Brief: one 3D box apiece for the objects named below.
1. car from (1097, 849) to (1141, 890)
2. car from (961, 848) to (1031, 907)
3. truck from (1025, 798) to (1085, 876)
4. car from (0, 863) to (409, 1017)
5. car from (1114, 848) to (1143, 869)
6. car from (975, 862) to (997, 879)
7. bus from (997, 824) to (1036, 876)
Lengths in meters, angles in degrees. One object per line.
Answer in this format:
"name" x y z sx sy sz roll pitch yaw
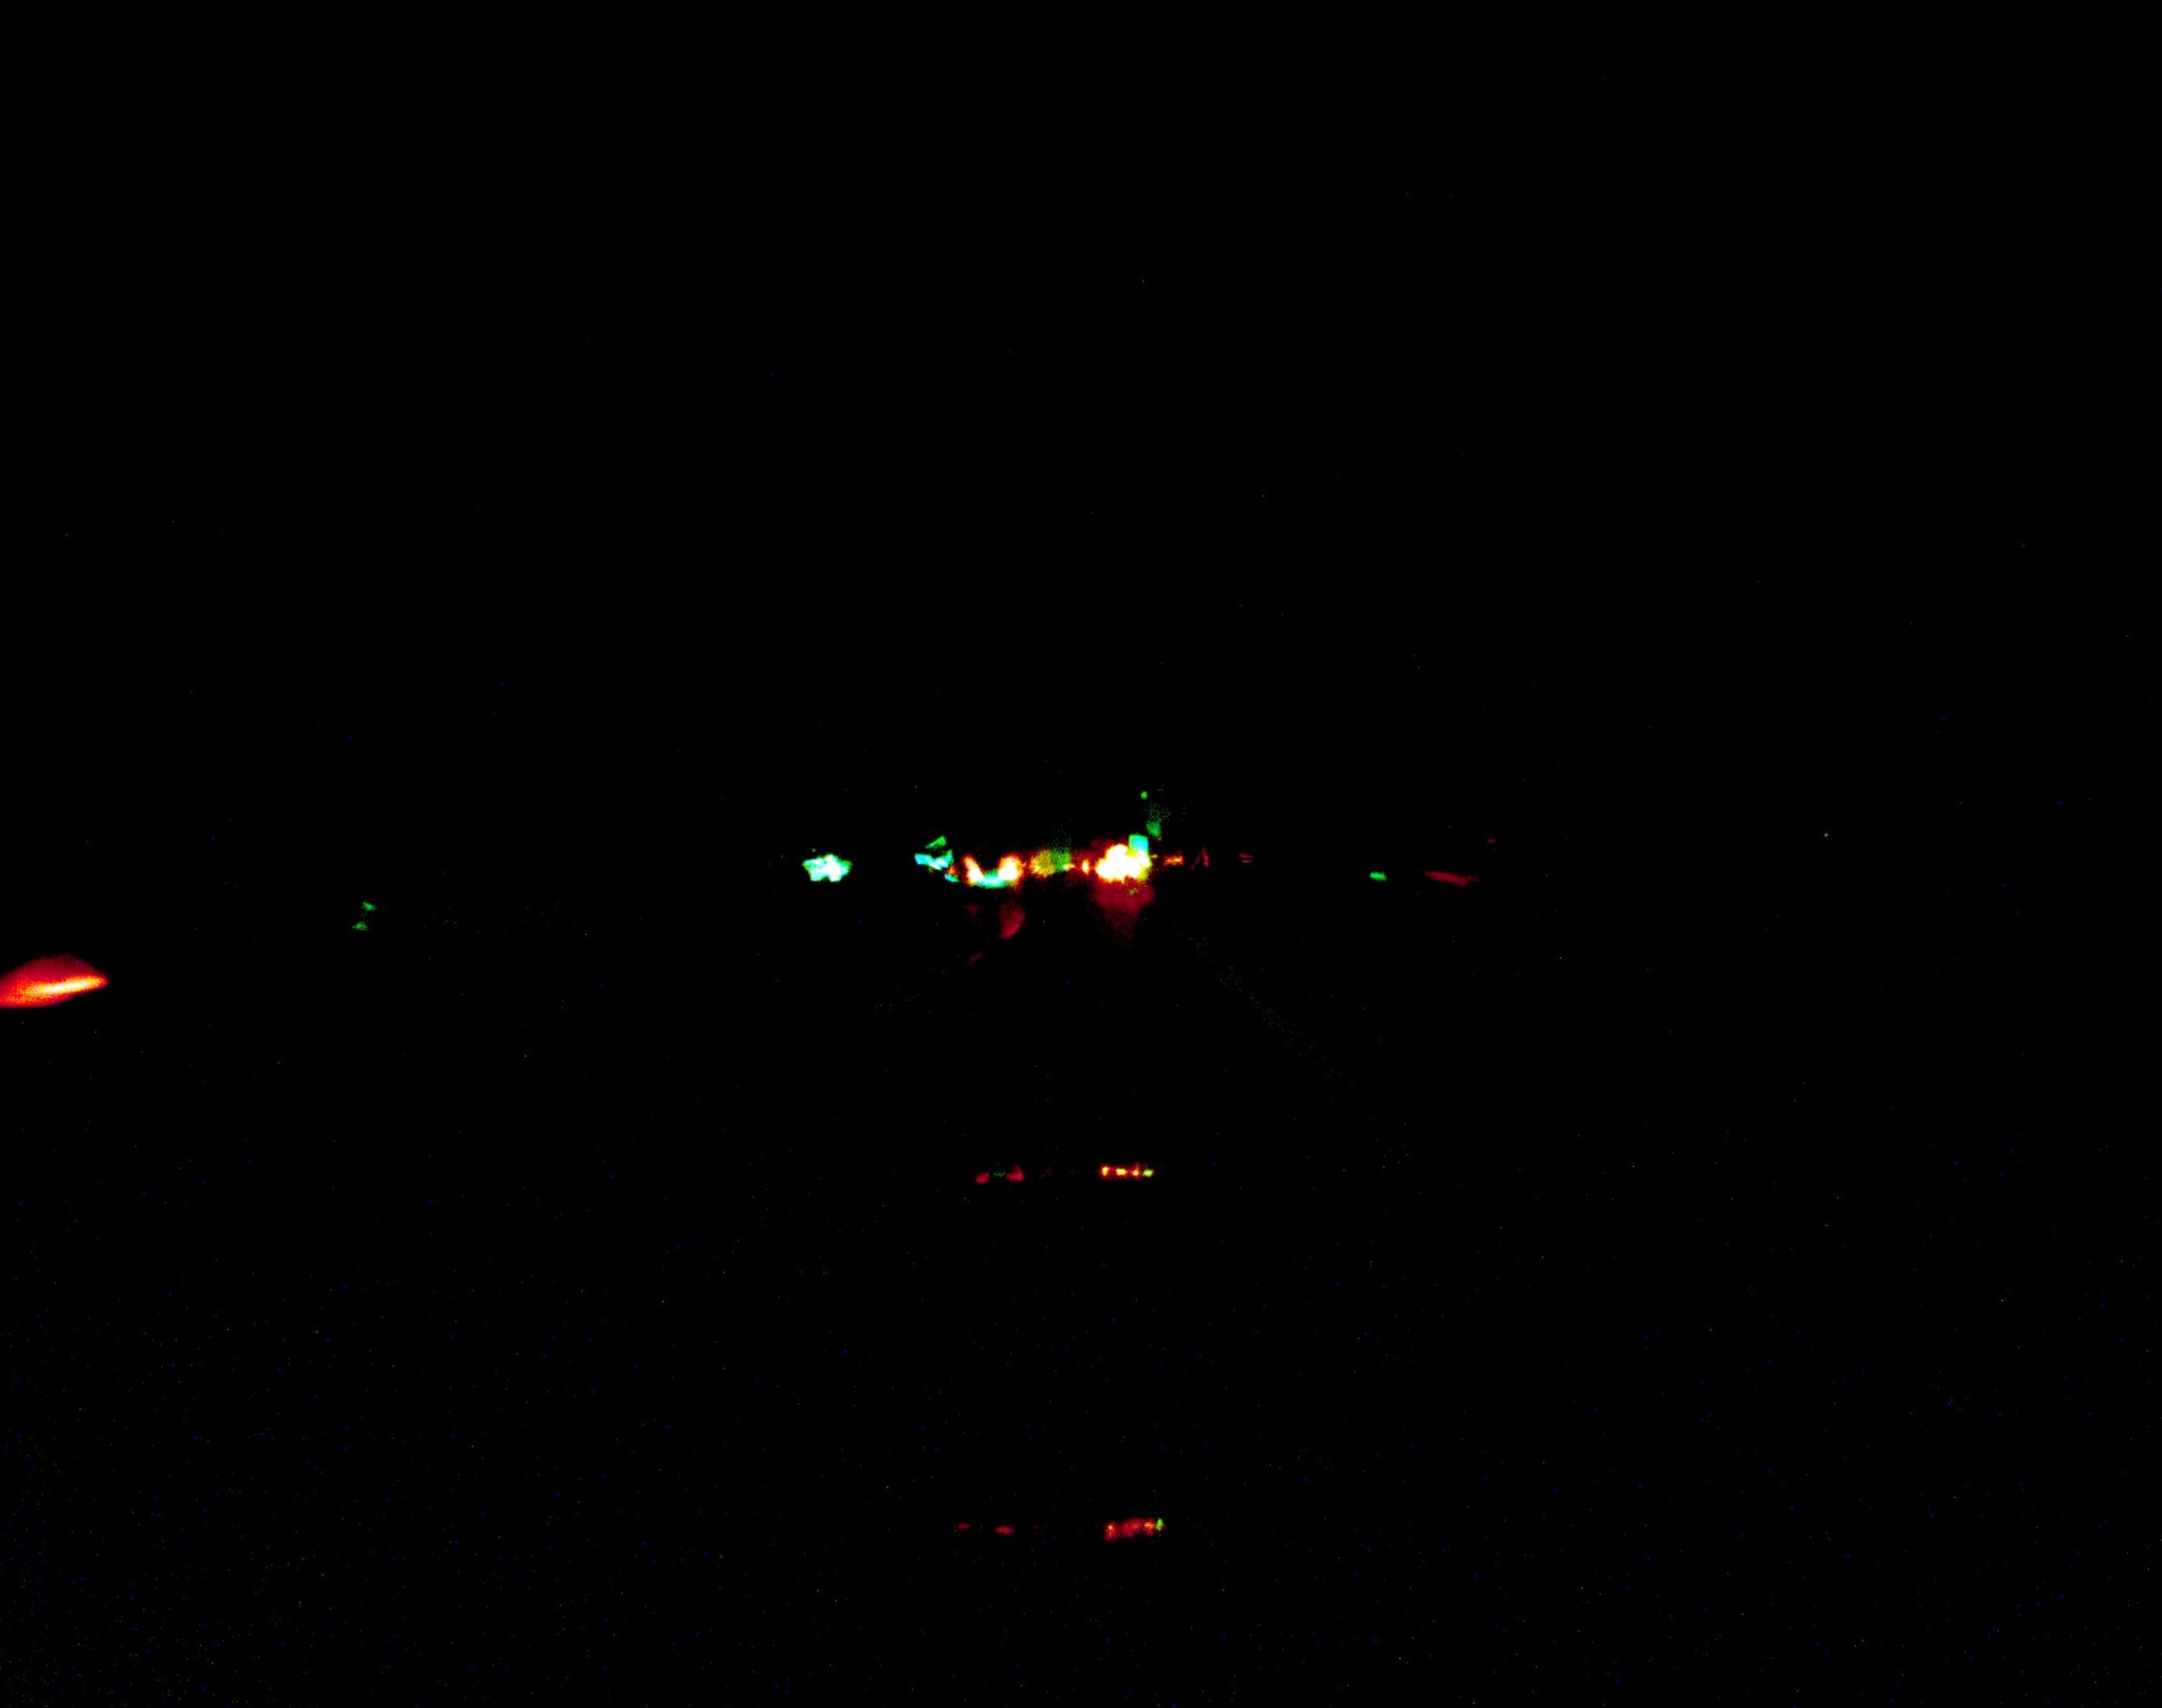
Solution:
"car" 1.758 0.707 38.631 1.986 1.807 4.001 0 0 2
"car" -3.026 0.810 29.962 2.119 2.014 4.644 0 0 -1
"truck" -1.831 -1.192 65.007 4.195 5.648 11.469 0 0 1
"car" -11.493 0.870 10.018 1.985 1.476 5.168 0 0 2
"car" 4.151 0.402 72.161 1.990 1.807 3.993 0 0 -5
"car" -9.189 1.548 79.128 1.990 1.596 3.993 0 0 -5
"bus" -5.890 -0.353 76.133 3.088 4.508 10.905 0 0 -2
